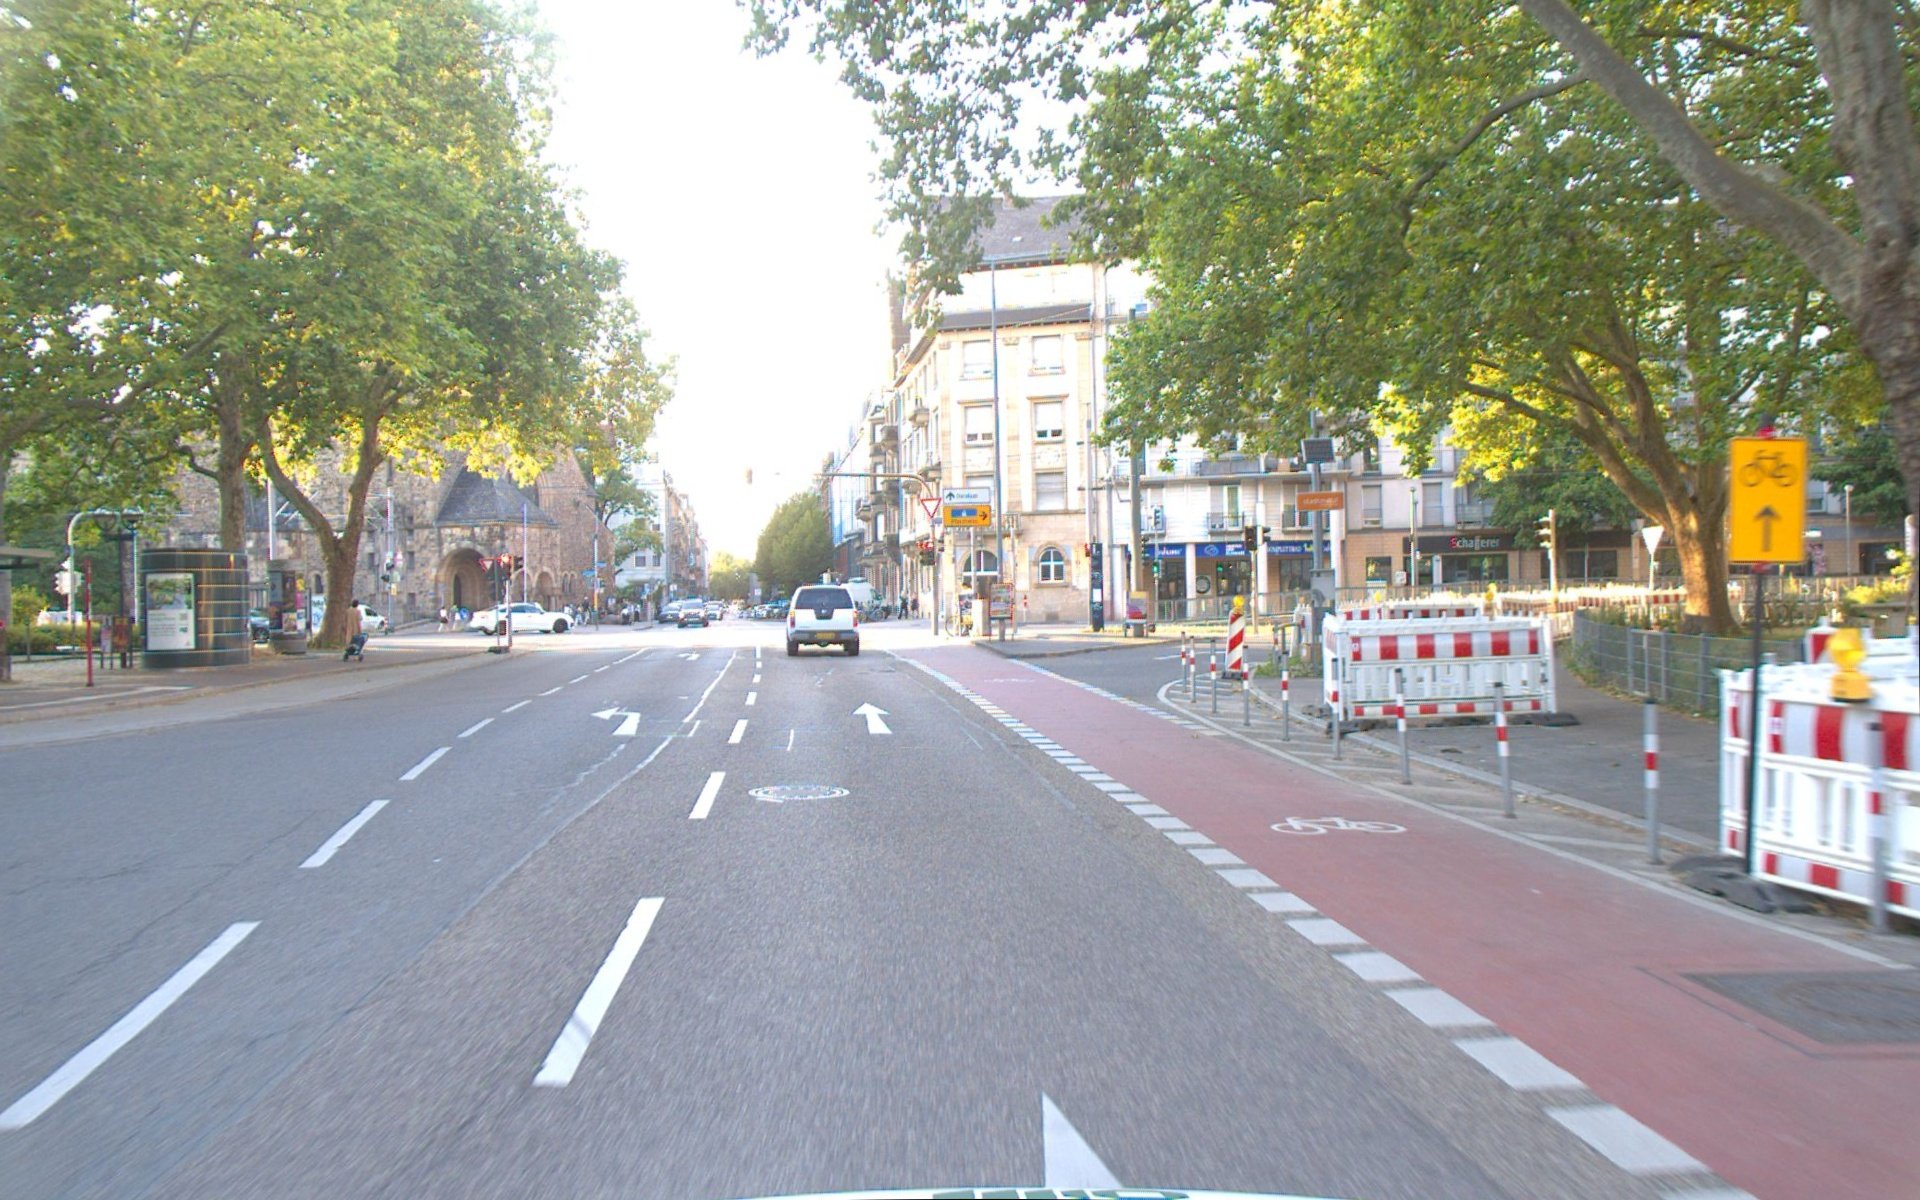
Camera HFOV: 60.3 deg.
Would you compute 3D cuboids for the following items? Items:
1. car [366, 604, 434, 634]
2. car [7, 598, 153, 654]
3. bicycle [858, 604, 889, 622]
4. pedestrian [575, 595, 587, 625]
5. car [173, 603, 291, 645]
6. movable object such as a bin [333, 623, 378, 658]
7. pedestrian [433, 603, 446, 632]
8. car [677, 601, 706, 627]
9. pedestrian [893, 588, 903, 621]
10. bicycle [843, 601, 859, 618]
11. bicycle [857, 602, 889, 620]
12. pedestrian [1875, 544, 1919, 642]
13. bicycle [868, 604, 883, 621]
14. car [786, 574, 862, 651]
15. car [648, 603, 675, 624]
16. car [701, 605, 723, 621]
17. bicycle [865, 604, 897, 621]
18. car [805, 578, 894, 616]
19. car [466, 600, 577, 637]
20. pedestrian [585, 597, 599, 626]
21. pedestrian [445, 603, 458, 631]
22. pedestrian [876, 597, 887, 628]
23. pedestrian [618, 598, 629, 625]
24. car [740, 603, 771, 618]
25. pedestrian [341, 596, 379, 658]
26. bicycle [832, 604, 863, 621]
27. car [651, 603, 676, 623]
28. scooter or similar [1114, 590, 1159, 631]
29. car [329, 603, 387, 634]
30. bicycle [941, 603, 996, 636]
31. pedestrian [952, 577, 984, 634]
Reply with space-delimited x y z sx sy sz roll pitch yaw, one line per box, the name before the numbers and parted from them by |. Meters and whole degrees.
car | -35.507 1.211 104.897 3.713 1.837 1.714 -1 0 15
car | -32.548 0.934 61.323 2.034 1.873 4.634 -1 1 18
bicycle | -5.195 0.773 99.268 1.877 0.985 0.545 -1 0 -5
pedestrian | -25.034 0.666 109.270 0.580 1.919 0.554 -1 0 15
car | -31.555 1.024 71.768 4.165 1.680 1.999 -1 0 -2
movable object such as a bin | -16.283 1.094 44.560 0.722 0.906 0.983 -1 0 8
pedestrian | -29.985 1.004 95.335 0.544 1.612 0.548 -1 0 4
car | -17.764 0.914 109.173 1.750 1.680 3.811 0 0 -11
pedestrian | -3.702 0.268 98.799 0.581 1.919 0.647 -1 0 -2
bicycle | -6.645 0.580 101.057 0.532 0.985 1.923 -1 0 10
bicycle | -5.206 0.655 98.988 1.877 0.985 0.545 -1 0 -5
pedestrian | 17.421 -0.129 30.460 0.651 1.789 0.713 -1 0 -20
bicycle | -5.179 0.780 101.420 0.532 0.985 1.923 -1 0 10
car | -3.554 0.323 43.219 1.830 1.846 3.996 -2 0 -5
car | -23.586 1.069 130.618 1.958 1.680 3.810 0 0 -11
car | -24.533 1.268 163.528 1.958 1.533 3.810 0 0 -11
bicycle | -4.784 0.780 100.085 1.874 0.985 0.546 -1 0 11
car | -7.001 -0.206 105.398 2.036 2.328 5.785 -1 0 43
car | -20.303 0.850 76.610 4.588 1.557 1.976 -1 0 -34
pedestrian | -24.311 0.768 109.252 0.640 1.919 0.586 -1 0 15
pedestrian | -29.319 0.965 95.353 0.544 1.612 0.548 -1 0 4
pedestrian | -4.694 0.752 99.091 0.581 1.799 0.653 -1 0 -2
pedestrian | -24.191 0.796 118.862 0.580 1.919 0.554 -1 0 10
car | -26.168 1.378 211.475 3.914 1.847 1.995 -1 0 -10
pedestrian | -16.476 0.732 45.447 0.722 1.657 0.686 -1 0 8
bicycle | -6.836 0.770 100.381 1.877 0.985 0.545 -1 0 -5
car | -24.781 1.094 138.257 1.958 1.680 3.810 0 0 -11
scooter or similar | 5.588 0.327 52.402 0.541 1.272 1.368 -1 0 -43
car | -39.037 1.176 107.270 1.672 1.943 3.496 -1 0 20
bicycle | 0.273 0.608 52.425 1.661 0.985 0.544 -1 0 -10
pedestrian | 0.246 0.177 52.924 0.783 1.799 0.717 -1 0 -21
